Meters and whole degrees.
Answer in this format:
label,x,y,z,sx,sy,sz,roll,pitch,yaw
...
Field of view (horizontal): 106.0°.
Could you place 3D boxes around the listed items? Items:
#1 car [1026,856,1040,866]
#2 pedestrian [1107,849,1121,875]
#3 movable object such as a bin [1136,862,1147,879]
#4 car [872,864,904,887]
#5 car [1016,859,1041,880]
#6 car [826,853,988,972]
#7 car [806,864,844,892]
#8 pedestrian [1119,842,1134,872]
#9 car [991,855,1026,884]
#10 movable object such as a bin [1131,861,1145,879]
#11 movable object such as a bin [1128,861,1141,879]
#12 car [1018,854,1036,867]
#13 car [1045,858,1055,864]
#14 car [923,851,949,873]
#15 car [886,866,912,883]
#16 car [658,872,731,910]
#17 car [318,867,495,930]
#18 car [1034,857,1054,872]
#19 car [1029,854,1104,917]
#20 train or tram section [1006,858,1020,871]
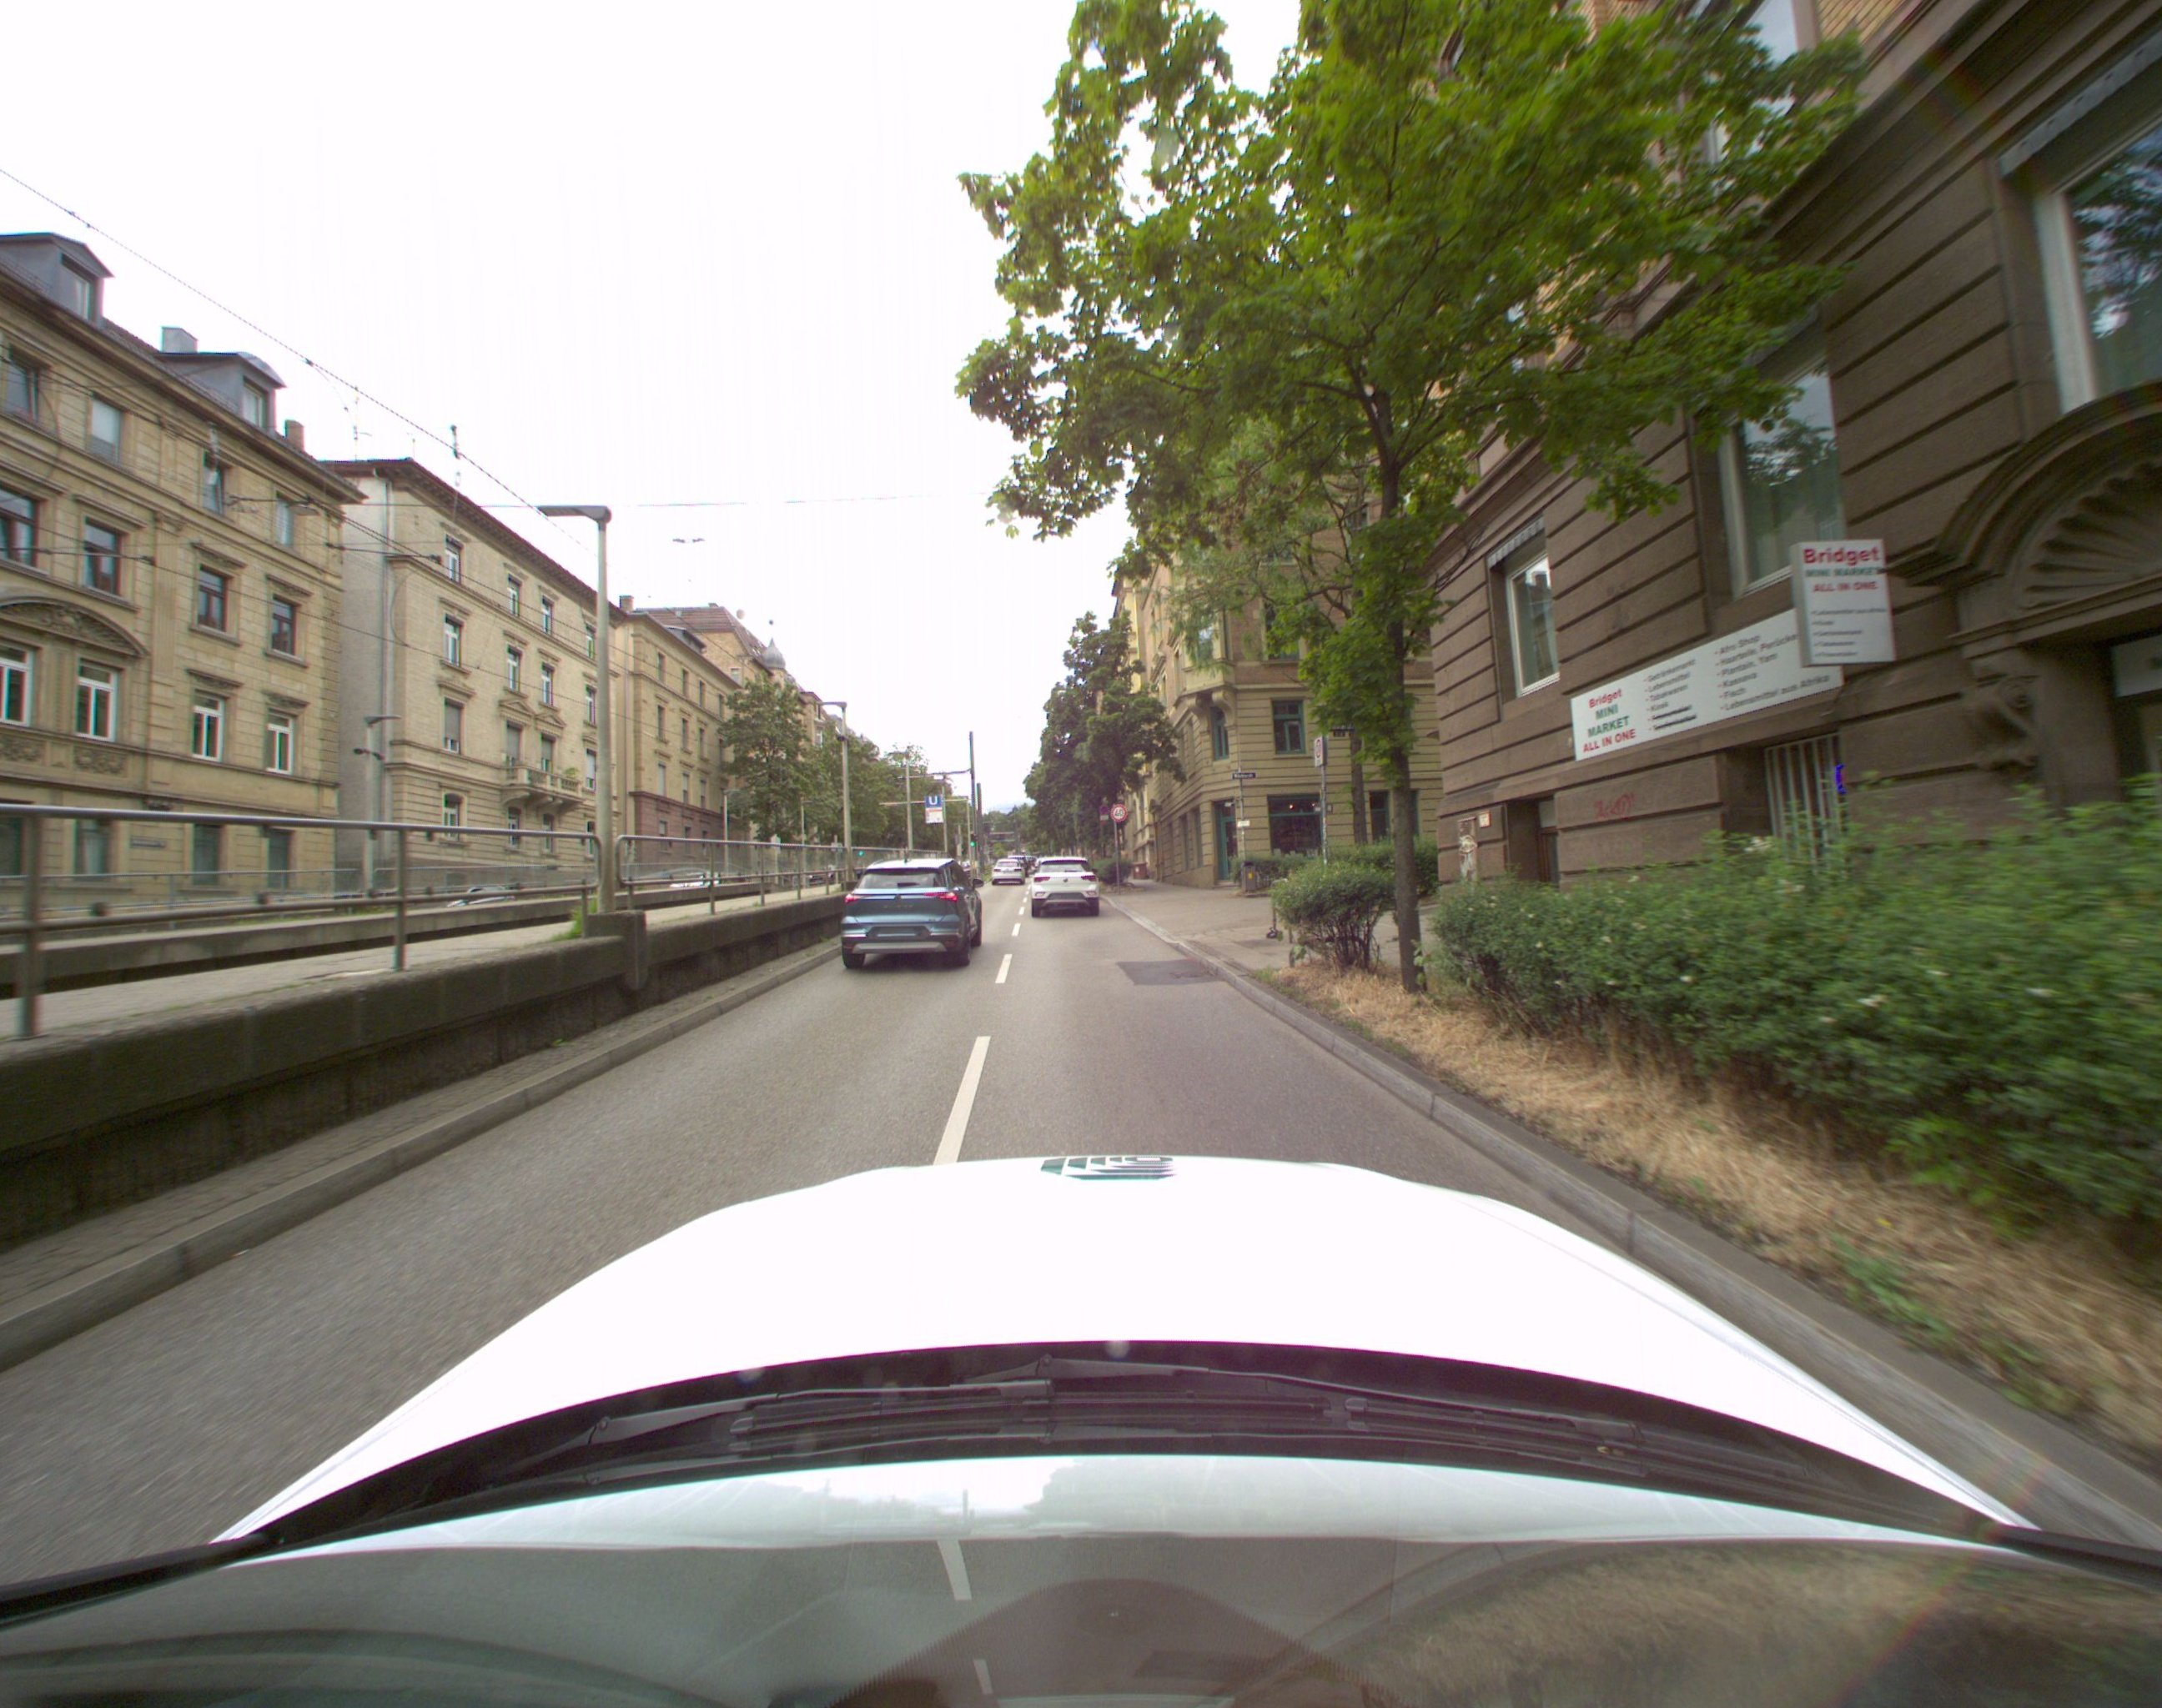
label,x,y,z,sx,sy,sz,roll,pitch,yaw
car,-7.518,1.106,127.668,2.064,1.546,4.187,-1,-1,-4
pedestrian,2.053,0.479,51.229,0.684,1.574,1.215,-4,0,-3
movable object such as a bin,3.291,0.888,44.279,0.496,0.919,0.446,-3,0,16
car,-16.073,1.801,68.116,1.705,1.735,4.572,-3,0,-2
car,-4.043,1.170,63.121,1.831,1.546,4.189,-1,-1,-3
car,-2.572,0.805,13.016,1.831,1.546,4.189,-1,-1,-3
car,-18.982,1.760,60.578,1.847,1.860,4.129,-3,0,-6
pedestrian,2.857,0.224,51.247,0.684,1.829,1.120,-4,-1,-3
car,-4.159,0.891,47.483,1.831,1.546,4.189,-1,-1,-3
movable object such as a bin,3.154,0.895,44.925,0.505,0.919,0.487,-4,-1,-45
movable object such as a bin,3.000,0.898,45.506,0.610,0.919,0.493,-4,-1,-1
car,-6.591,0.818,99.551,2.065,1.546,4.184,-1,-1,-6
car,-7.586,1.678,198.365,2.066,1.546,4.183,-1,-1,-7
car,-19.319,1.078,108.529,2.387,2.699,6.510,-4,0,-3
car,-17.581,1.979,78.742,1.674,1.447,4.214,-3,0,-2
car,-19.911,1.867,42.131,1.932,1.679,3.995,-3,0,-3
car,-19.485,1.221,23.800,1.874,1.528,3.996,-3,0,-3
car,-3.923,1.129,85.936,2.064,1.546,4.188,-1,-1,-3
car,-0.486,0.802,22.471,1.832,1.546,4.187,-1,-1,-4
train or tram section,-18.225,2.770,219.382,2.988,3.349,13.427,-2,-1,-2
